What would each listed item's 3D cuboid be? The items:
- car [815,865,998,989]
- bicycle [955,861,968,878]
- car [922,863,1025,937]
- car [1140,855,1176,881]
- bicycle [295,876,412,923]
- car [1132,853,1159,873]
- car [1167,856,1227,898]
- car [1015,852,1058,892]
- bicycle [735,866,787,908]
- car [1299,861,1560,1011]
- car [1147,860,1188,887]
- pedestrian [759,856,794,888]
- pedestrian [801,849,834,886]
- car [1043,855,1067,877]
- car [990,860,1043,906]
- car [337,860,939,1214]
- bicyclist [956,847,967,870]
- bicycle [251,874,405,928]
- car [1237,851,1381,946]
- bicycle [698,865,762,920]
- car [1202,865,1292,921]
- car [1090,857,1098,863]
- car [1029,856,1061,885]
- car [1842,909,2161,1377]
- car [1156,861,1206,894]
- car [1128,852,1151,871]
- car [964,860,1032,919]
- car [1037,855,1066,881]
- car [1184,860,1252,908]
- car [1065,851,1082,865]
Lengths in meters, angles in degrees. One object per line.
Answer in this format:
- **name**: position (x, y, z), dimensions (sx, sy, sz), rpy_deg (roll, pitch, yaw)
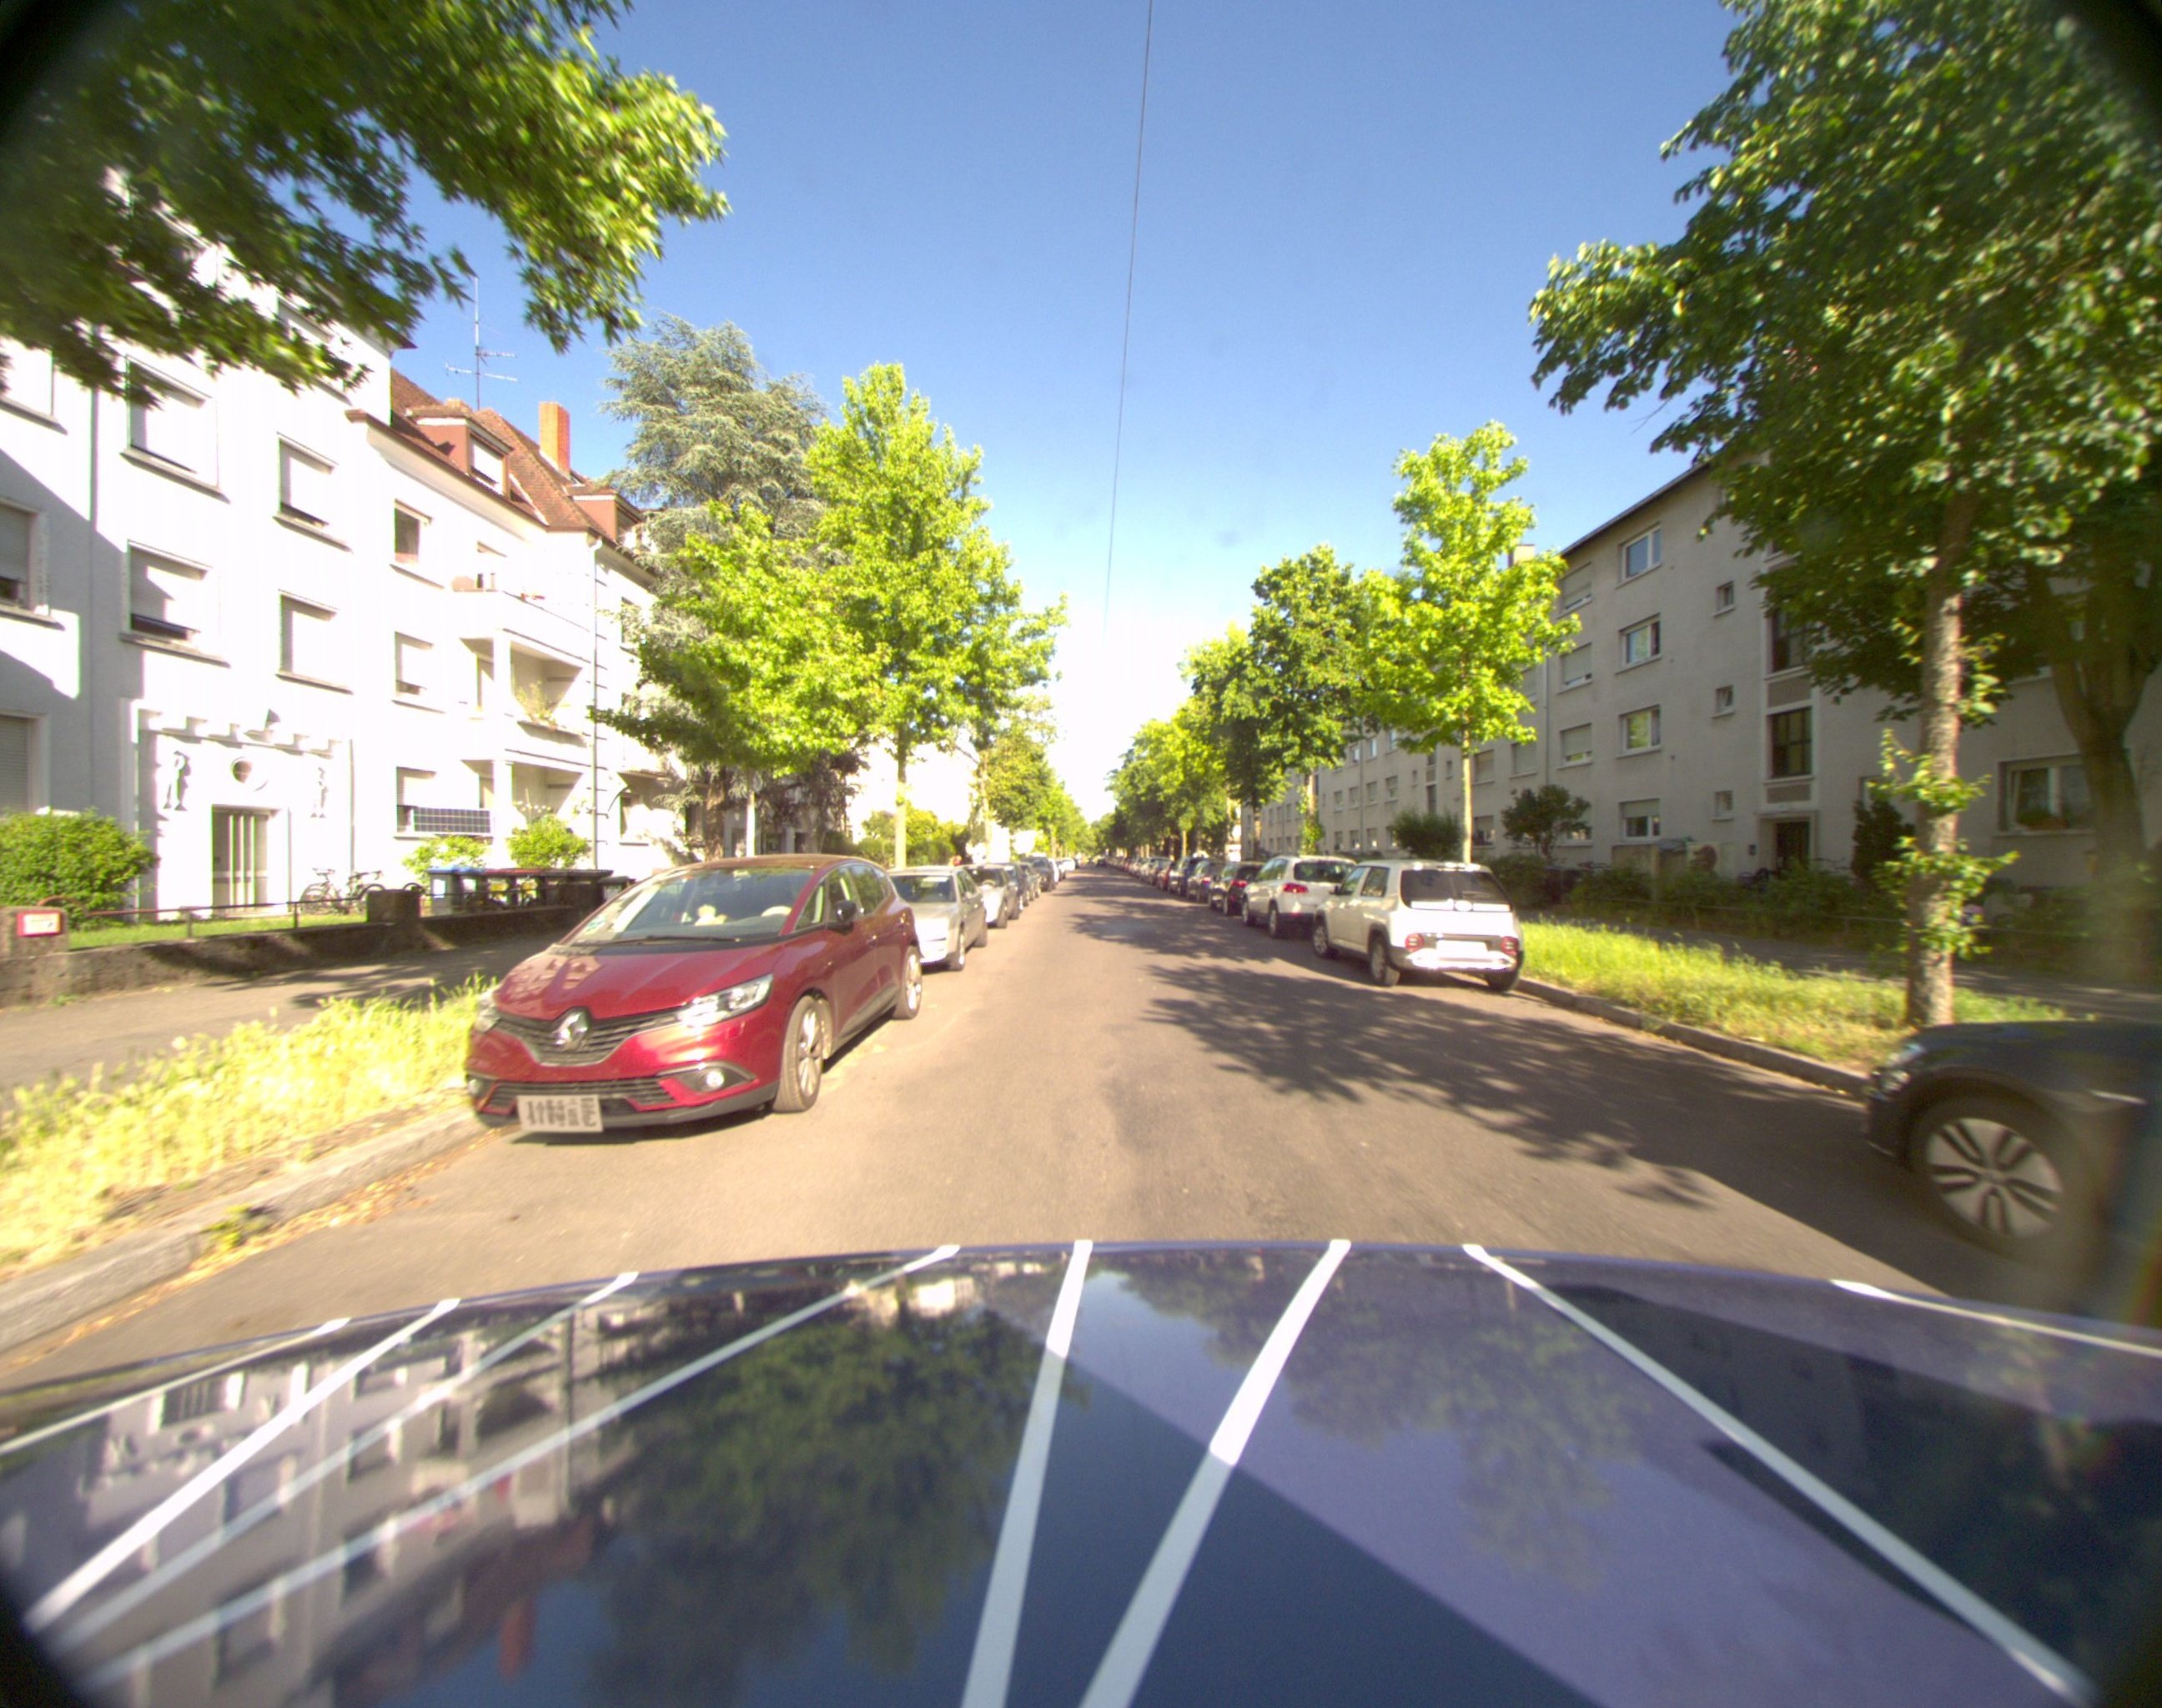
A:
- **car**: position (-2.439, 0.950, 11.770), dimensions (1.715, 1.399, 4.490), rpy_deg (1, 1, 1)
- **bicycle**: position (-7.149, 0.908, 45.343), dimensions (0.459, 0.956, 1.787), rpy_deg (1, 1, 1)
- **car**: position (-2.384, 0.980, 17.736), dimensions (1.768, 1.389, 3.695), rpy_deg (-2, 1, 1)
- **car**: position (4.861, 0.861, 48.618), dimensions (1.879, 1.553, 4.183), rpy_deg (1, 1, 0)
- **bicycle**: position (-15.214, 0.934, 15.910), dimensions (2.034, 0.913, 0.559), rpy_deg (0, 1, 5)
- **car**: position (5.082, 0.687, 60.299), dimensions (1.768, 1.487, 4.015), rpy_deg (-2, 1, 0)
- **car**: position (4.700, 0.886, 31.349), dimensions (1.820, 1.576, 4.408), rpy_deg (1, 0, 0)
- **car**: position (-2.001, 0.794, 35.238), dimensions (1.769, 1.627, 4.014), rpy_deg (-2, 1, -1)
- **bicycle**: position (-8.912, 0.885, 21.251), dimensions (0.433, 1.006, 2.248), rpy_deg (-6, 1, -1)
- **car**: position (4.476, 0.941, 10.505), dimensions (1.721, 1.517, 3.999), rpy_deg (-2, 1, 0)
- **car**: position (4.849, 1.060, 42.983), dimensions (1.879, 1.367, 4.183), rpy_deg (1, 1, 0)
- **pedestrian**: position (-11.510, 0.671, 28.743), dimensions (1.036, 1.136, 0.716), rpy_deg (-2, 1, -5)
- **pedestrian**: position (-10.086, 0.514, 29.079), dimensions (1.038, 1.370, 0.714), rpy_deg (-1, 1, -34)
- **car**: position (-1.893, 0.857, 55.639), dimensions (1.609, 1.402, 3.669), rpy_deg (-2, 1, -1)
- **car**: position (-2.313, 1.022, 28.093), dimensions (1.609, 1.415, 4.014), rpy_deg (-2, 1, -1)
- **car**: position (-2.573, 0.898, 5.945), dimensions (1.934, 1.558, 4.593), rpy_deg (1, 1, 1)
- **bicyclist**: position (-7.149, 0.263, 45.522), dimensions (0.497, 1.331, 0.719), rpy_deg (1, 1, 1)
- **bicycle**: position (-13.286, 0.824, 13.436), dimensions (2.065, 0.765, 0.626), rpy_deg (-4, 1, 1)
- **car**: position (4.529, 0.791, 15.770), dimensions (1.707, 1.670, 4.223), rpy_deg (1, 1, 0)
- **bicycle**: position (-8.591, 0.912, 18.690), dimensions (0.490, 1.190, 2.175), rpy_deg (-2, 1, 0)
- **car**: position (4.605, 1.029, 21.639), dimensions (1.662, 1.384, 4.237), rpy_deg (0, 0, 0)
- **car**: position (3.220, 1.375, 187.771), dimensions (1.769, 1.486, 3.783), rpy_deg (0, 0, -1)
- **car**: position (-2.110, 0.958, 45.396), dimensions (1.769, 1.487, 3.932), rpy_deg (-2, 1, -1)
- **car**: position (4.348, 1.001, 1.454), dimensions (1.664, 1.387, 4.091), rpy_deg (-2, 1, 0)
- **car**: position (4.719, 1.083, 36.430), dimensions (1.879, 1.367, 4.068), rpy_deg (1, 1, 0)
- **car**: position (5.189, 0.630, 67.947), dimensions (1.768, 1.487, 4.015), rpy_deg (-2, 1, 0)
- **car**: position (-2.363, 0.965, 22.481), dimensions (1.609, 1.455, 3.870), rpy_deg (-2, 1, -1)
- **car**: position (-1.934, 0.903, 50.888), dimensions (1.769, 1.487, 4.014), rpy_deg (-2, 1, -1)
- **car**: position (4.671, 0.990, 26.434), dimensions (1.653, 1.437, 3.966), rpy_deg (1, 1, 0)
- **car**: position (-0.912, 0.500, 91.736), dimensions (1.891, 1.624, 3.888), rpy_deg (0, 0, 1)
